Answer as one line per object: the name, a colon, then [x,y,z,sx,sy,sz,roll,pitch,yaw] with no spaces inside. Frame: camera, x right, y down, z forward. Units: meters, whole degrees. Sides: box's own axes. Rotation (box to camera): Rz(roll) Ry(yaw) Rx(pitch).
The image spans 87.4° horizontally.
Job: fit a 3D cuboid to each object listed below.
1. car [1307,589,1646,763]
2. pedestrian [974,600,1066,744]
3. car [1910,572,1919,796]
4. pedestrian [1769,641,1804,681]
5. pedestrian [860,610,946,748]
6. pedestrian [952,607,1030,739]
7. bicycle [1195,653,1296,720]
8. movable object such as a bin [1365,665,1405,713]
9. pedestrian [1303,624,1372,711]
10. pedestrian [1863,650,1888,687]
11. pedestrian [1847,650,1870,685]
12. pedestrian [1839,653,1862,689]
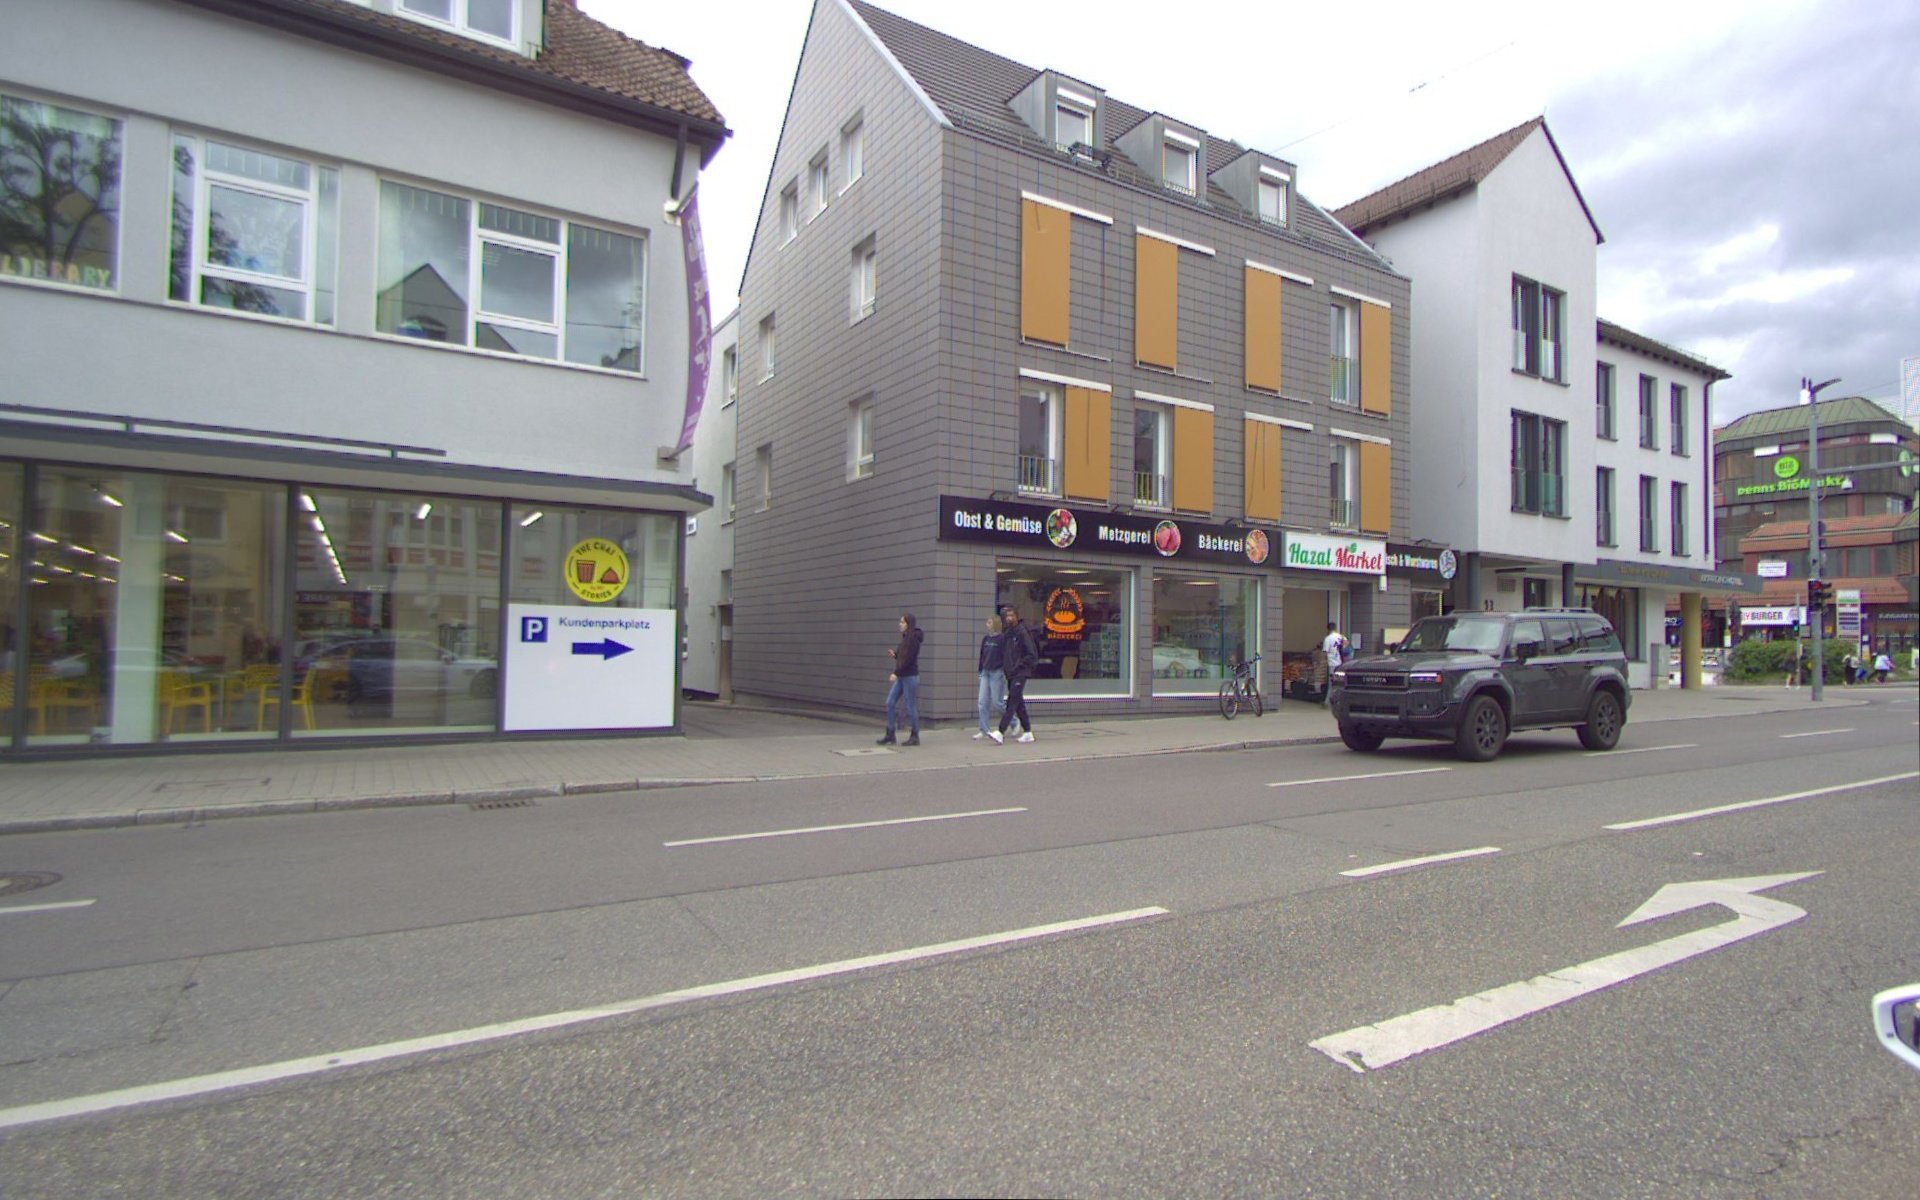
car: [7.084,0.986,13.654,4.716,1.994,1.914,2,-3,-32]
pedestrian: [0.816,0.958,13.635,1.015,1.863,0.704,2,-2,-29]
car: [11.292,0.837,9.602,4.784,2.040,1.983,2,-1,-31]
pedestrian: [37.038,2.721,45.013,0.933,1.778,0.944,2,-2,-29]
pedestrian: [-0.750,1.012,13.137,0.859,1.720,0.800,2,-2,-29]
pedestrian: [0.438,1.021,14.282,0.859,1.805,0.704,2,-2,-29]
bicycle: [5.058,1.512,17.751,1.880,1.115,0.569,2,-1,-31]
movable object such as a bin: [8.443,1.752,19.963,0.501,0.911,0.548,2,-1,-32]
pedestrian: [7.440,1.312,19.815,0.960,1.665,0.883,2,-2,-31]
pedestrian: [41.476,3.096,45.512,0.648,1.609,0.636,2,-2,-29]
pedestrian: [41.392,3.103,46.286,0.519,1.609,0.636,2,-2,-29]
pedestrian: [40.245,3.189,45.381,0.519,1.609,0.636,2,-2,-29]
